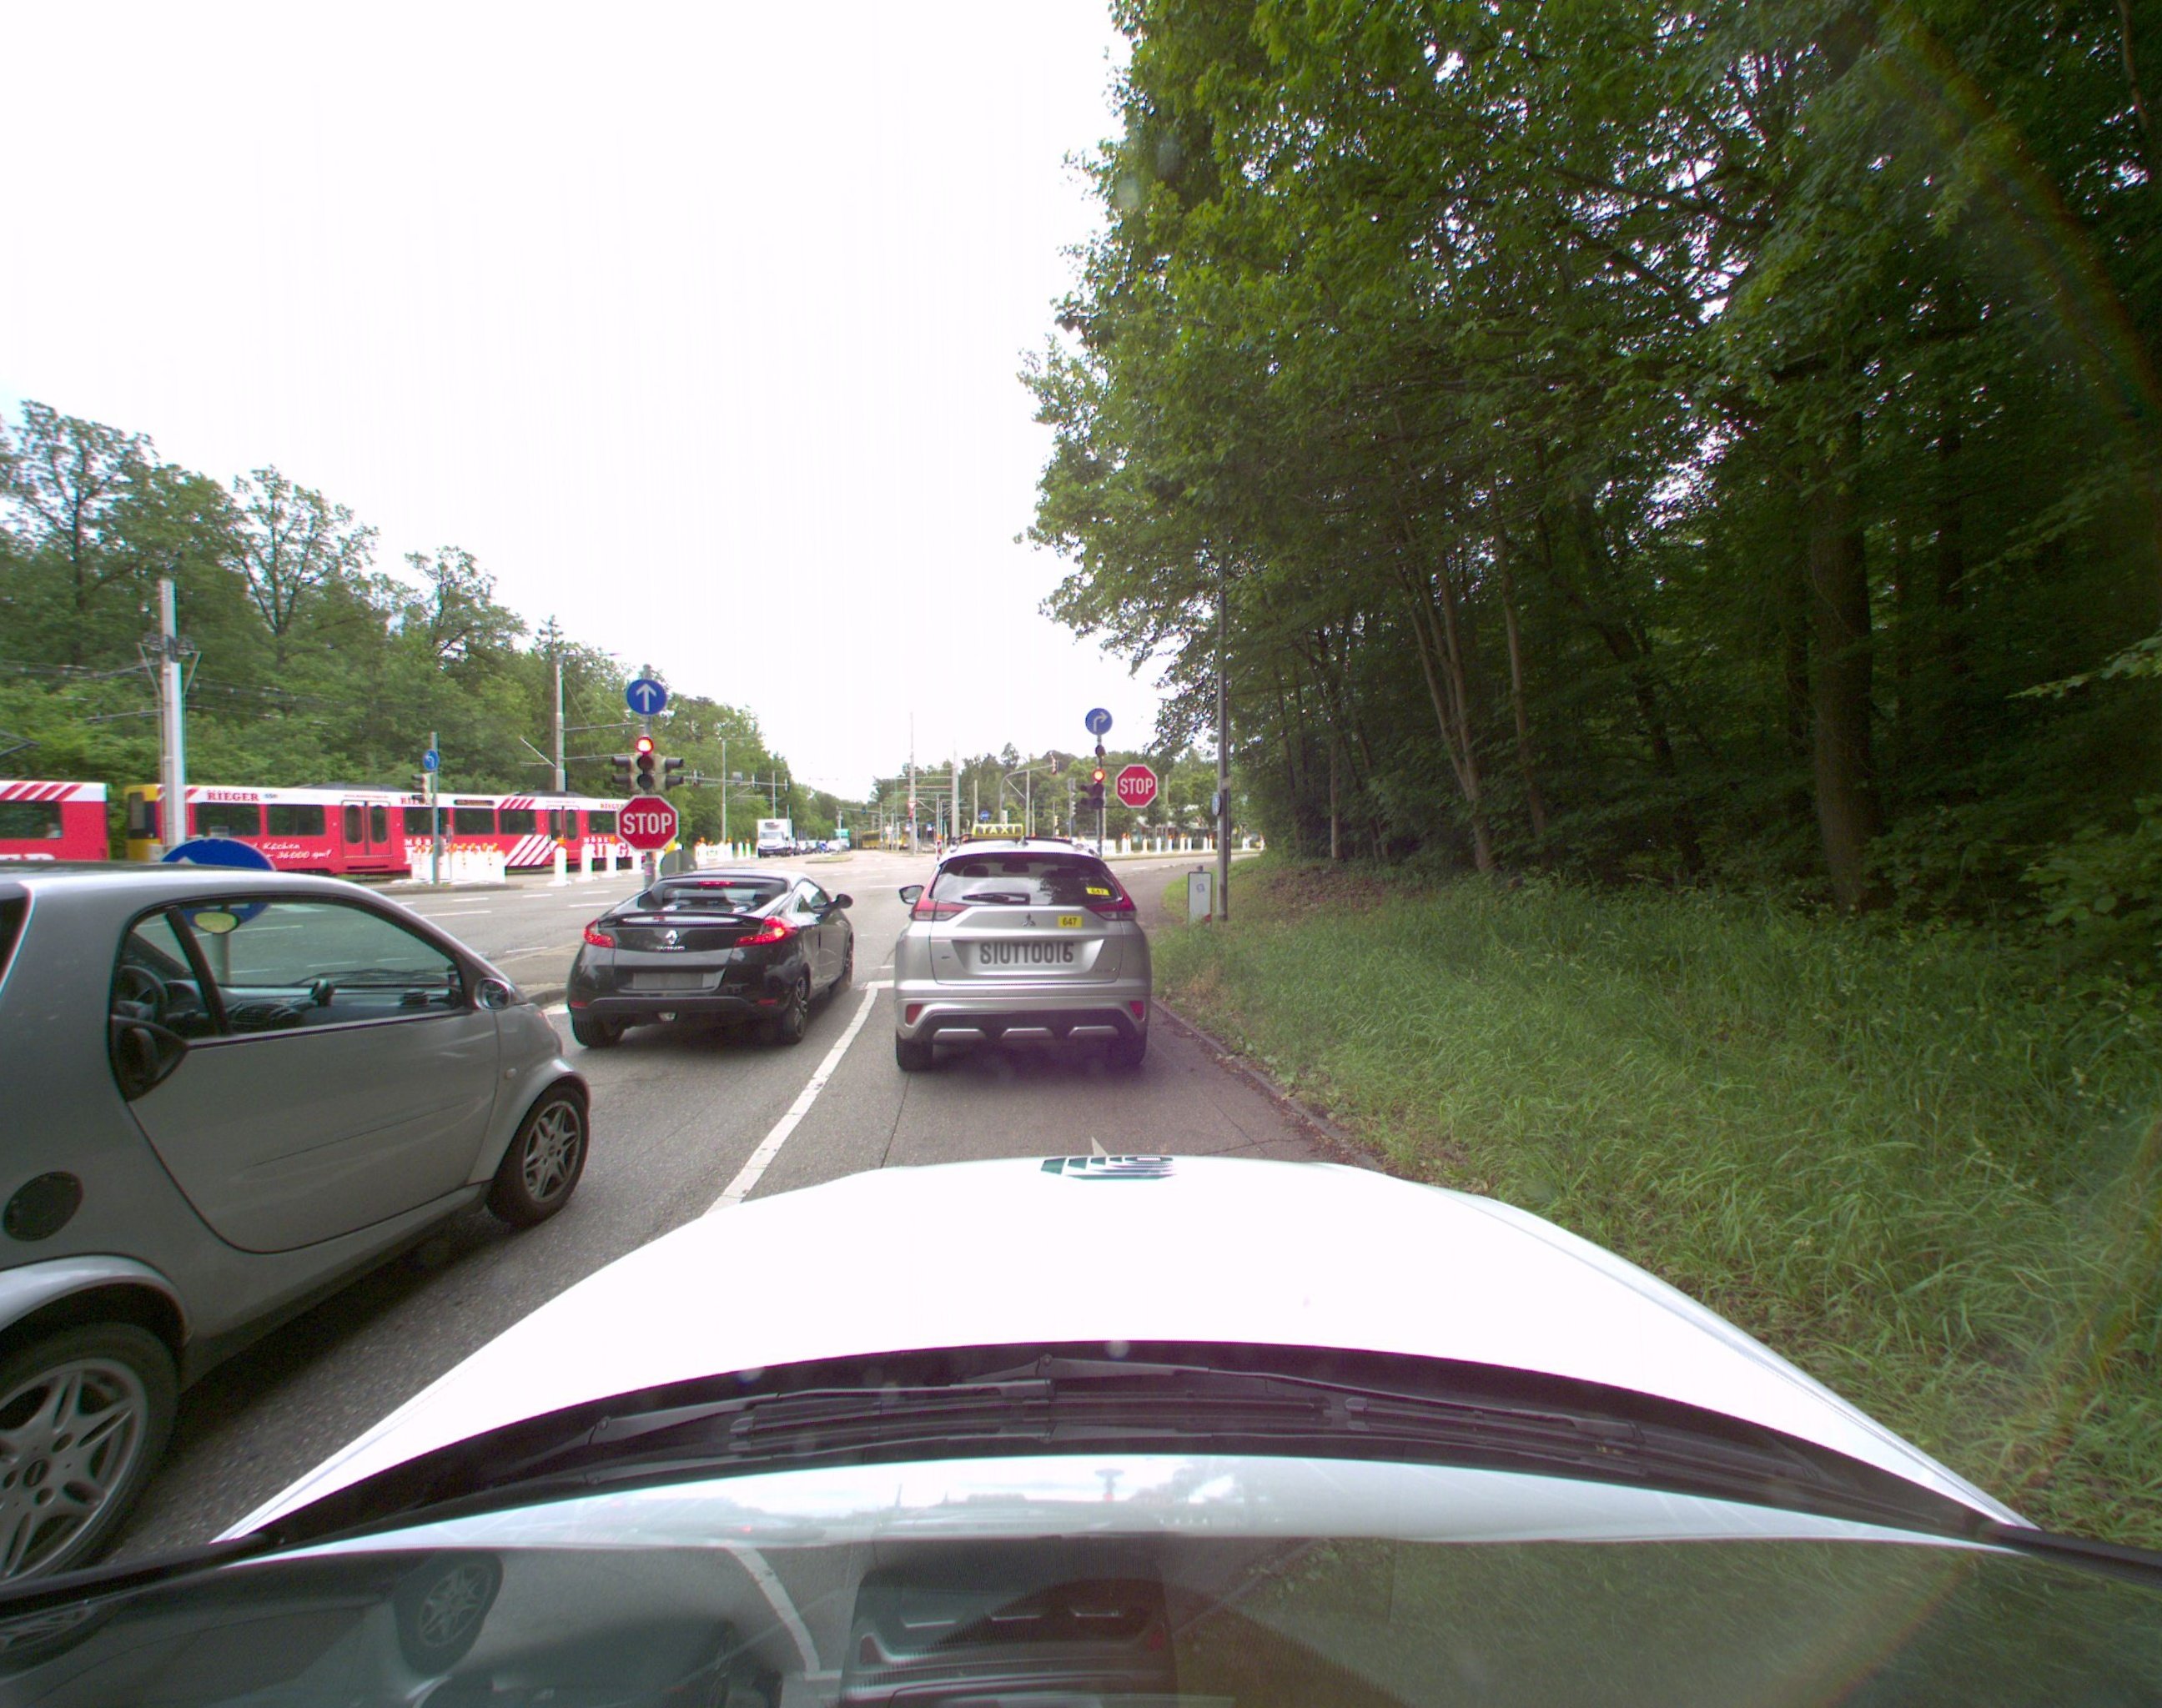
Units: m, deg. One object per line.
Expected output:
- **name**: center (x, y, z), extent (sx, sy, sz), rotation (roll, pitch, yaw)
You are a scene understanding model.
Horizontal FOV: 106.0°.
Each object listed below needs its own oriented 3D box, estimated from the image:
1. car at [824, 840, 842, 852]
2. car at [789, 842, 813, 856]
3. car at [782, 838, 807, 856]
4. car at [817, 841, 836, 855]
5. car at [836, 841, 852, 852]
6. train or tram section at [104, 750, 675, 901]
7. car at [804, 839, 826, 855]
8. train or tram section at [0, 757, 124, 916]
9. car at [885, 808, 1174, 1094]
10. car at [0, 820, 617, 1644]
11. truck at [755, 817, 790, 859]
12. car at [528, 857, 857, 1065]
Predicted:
- **car**: center (-32.821, -1.045, 107.881), extent (1.964, 1.541, 4.376), rotation (-1, 1, -13)
- **car**: center (-30.083, -0.568, 87.727), extent (1.964, 1.361, 4.669), rotation (-1, 1, -13)
- **car**: center (-28.007, -0.695, 79.593), extent (1.966, 1.749, 4.820), rotation (-1, 1, -16)
- **car**: center (-31.842, -0.781, 102.097), extent (1.964, 1.607, 4.291), rotation (-1, 1, -13)
- **car**: center (-35.227, -1.175, 121.067), extent (1.964, 1.540, 4.291), rotation (-1, 1, -13)
- **train or tram section**: center (-26.150, -0.828, 34.056), extent (2.920, 4.650, 18.651), rotation (-1, -1, 25)
- **car**: center (-31.288, -0.824, 95.863), extent (1.964, 1.844, 4.669), rotation (-1, 1, -13)
- **train or tram section**: center (-35.360, -0.485, 17.557), extent (2.927, 4.418, 18.848), rotation (-1, -1, 34)
- **car**: center (-0.513, 0.580, 6.960), extent (1.772, 1.748, 3.772), rotation (1, 1, -7)
- **car**: center (-2.894, 0.729, 2.517), extent (1.455, 1.586, 2.724), rotation (-1, 1, -4)
- **truck**: center (-25.549, -1.291, 67.707), extent (2.456, 3.224, 7.109), rotation (-2, 1, -19)
- **car**: center (-3.231, 0.756, 7.569), extent (1.773, 1.361, 3.466), rotation (-1, 1, -9)
